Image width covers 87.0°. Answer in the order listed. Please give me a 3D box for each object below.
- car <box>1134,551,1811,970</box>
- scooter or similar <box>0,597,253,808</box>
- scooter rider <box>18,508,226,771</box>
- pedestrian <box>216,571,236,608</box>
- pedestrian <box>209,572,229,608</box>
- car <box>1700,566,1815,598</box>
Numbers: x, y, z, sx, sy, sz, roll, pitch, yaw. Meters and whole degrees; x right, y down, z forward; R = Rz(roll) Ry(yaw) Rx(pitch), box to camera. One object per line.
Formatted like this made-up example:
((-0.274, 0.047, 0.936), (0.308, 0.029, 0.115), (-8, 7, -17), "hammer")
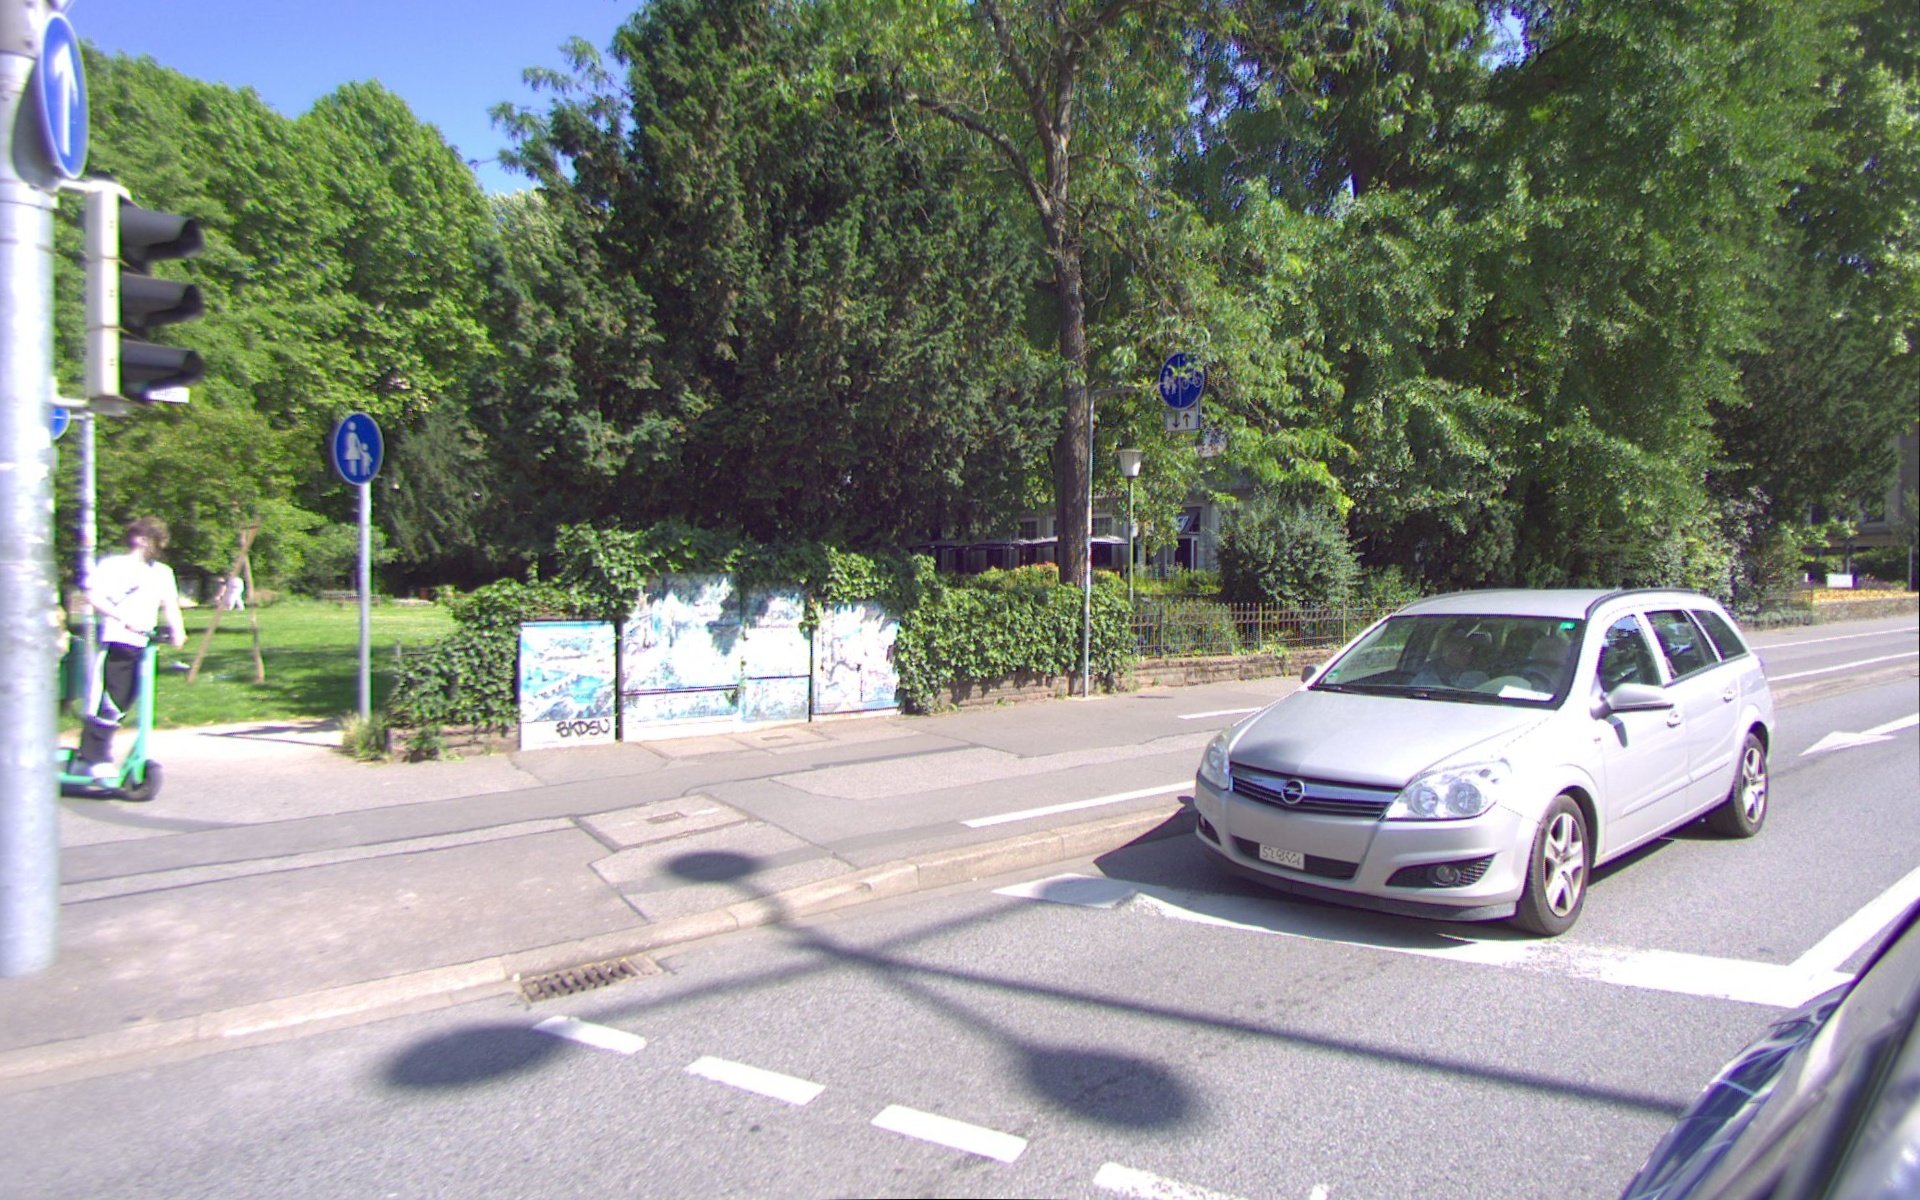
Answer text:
((3.103, 0.561, 5.718), (4.325, 1.541, 1.712), (-1, 1, -37), "car")
((-5.976, 0.655, 7.049), (1.671, 1.314, 0.818), (0, 2, 14), "scooter or similar")
((-5.749, 0.240, 6.984), (0.699, 1.692, 0.820), (0, 2, 14), "scooter rider")
((-34.869, -0.497, 48.056), (0.678, 1.705, 0.660), (-1, 1, -44), "pedestrian")
((-35.516, -0.505, 48.487), (0.678, 1.705, 0.660), (-1, 1, -44), "pedestrian")
((41.064, -0.900, 52.202), (1.655, 1.573, 4.412), (-1, 1, -40), "car")
